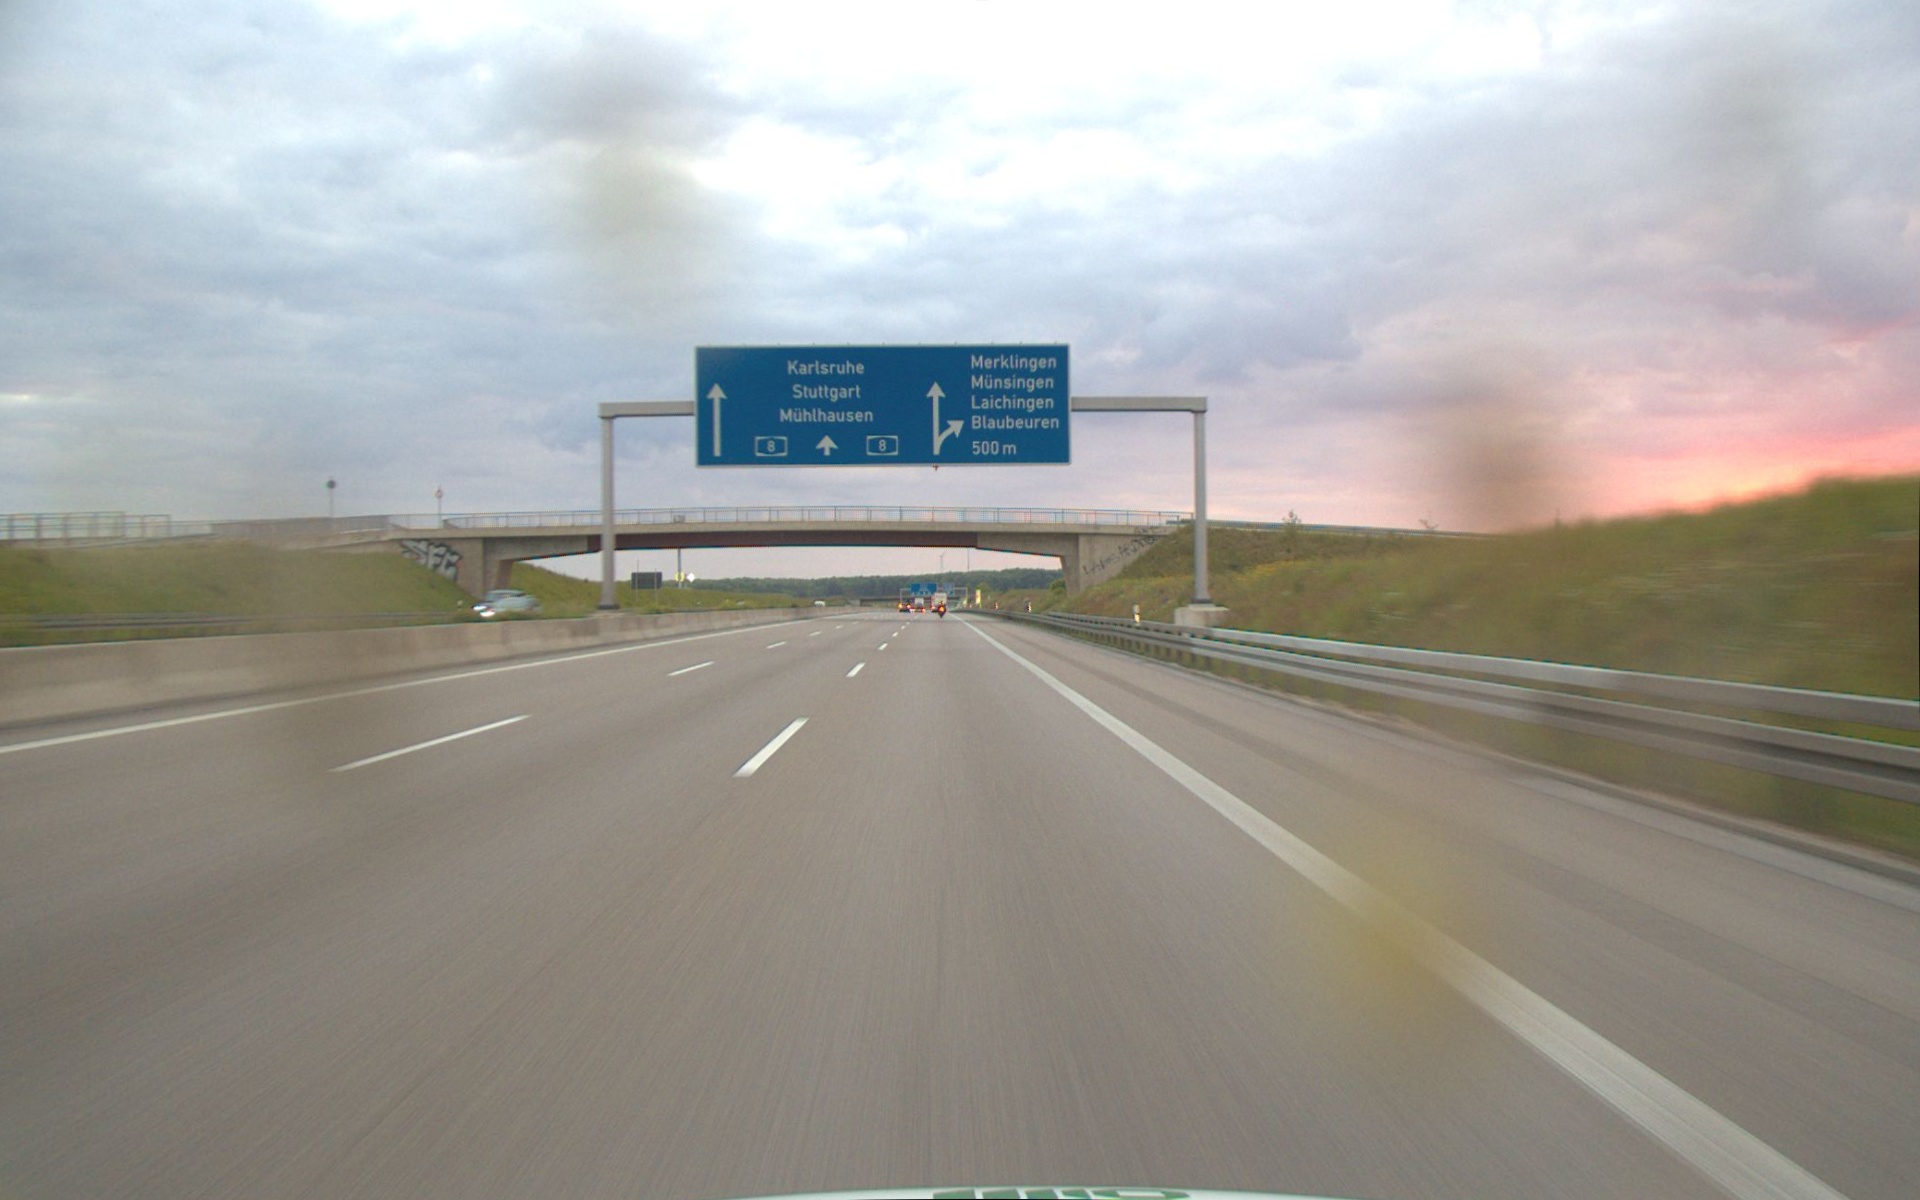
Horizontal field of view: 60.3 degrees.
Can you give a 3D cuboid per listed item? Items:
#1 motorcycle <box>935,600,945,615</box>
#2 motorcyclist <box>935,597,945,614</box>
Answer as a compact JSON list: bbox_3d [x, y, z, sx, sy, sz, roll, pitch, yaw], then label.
[{"bbox_3d":[-1.782,0.671,149.415,0.883,1.370,2.348,0,0,-1],"label":"motorcycle"},{"bbox_3d":[-1.787,0.471,149.465,0.848,1.514,1.168,1,0,0],"label":"motorcyclist"}]
